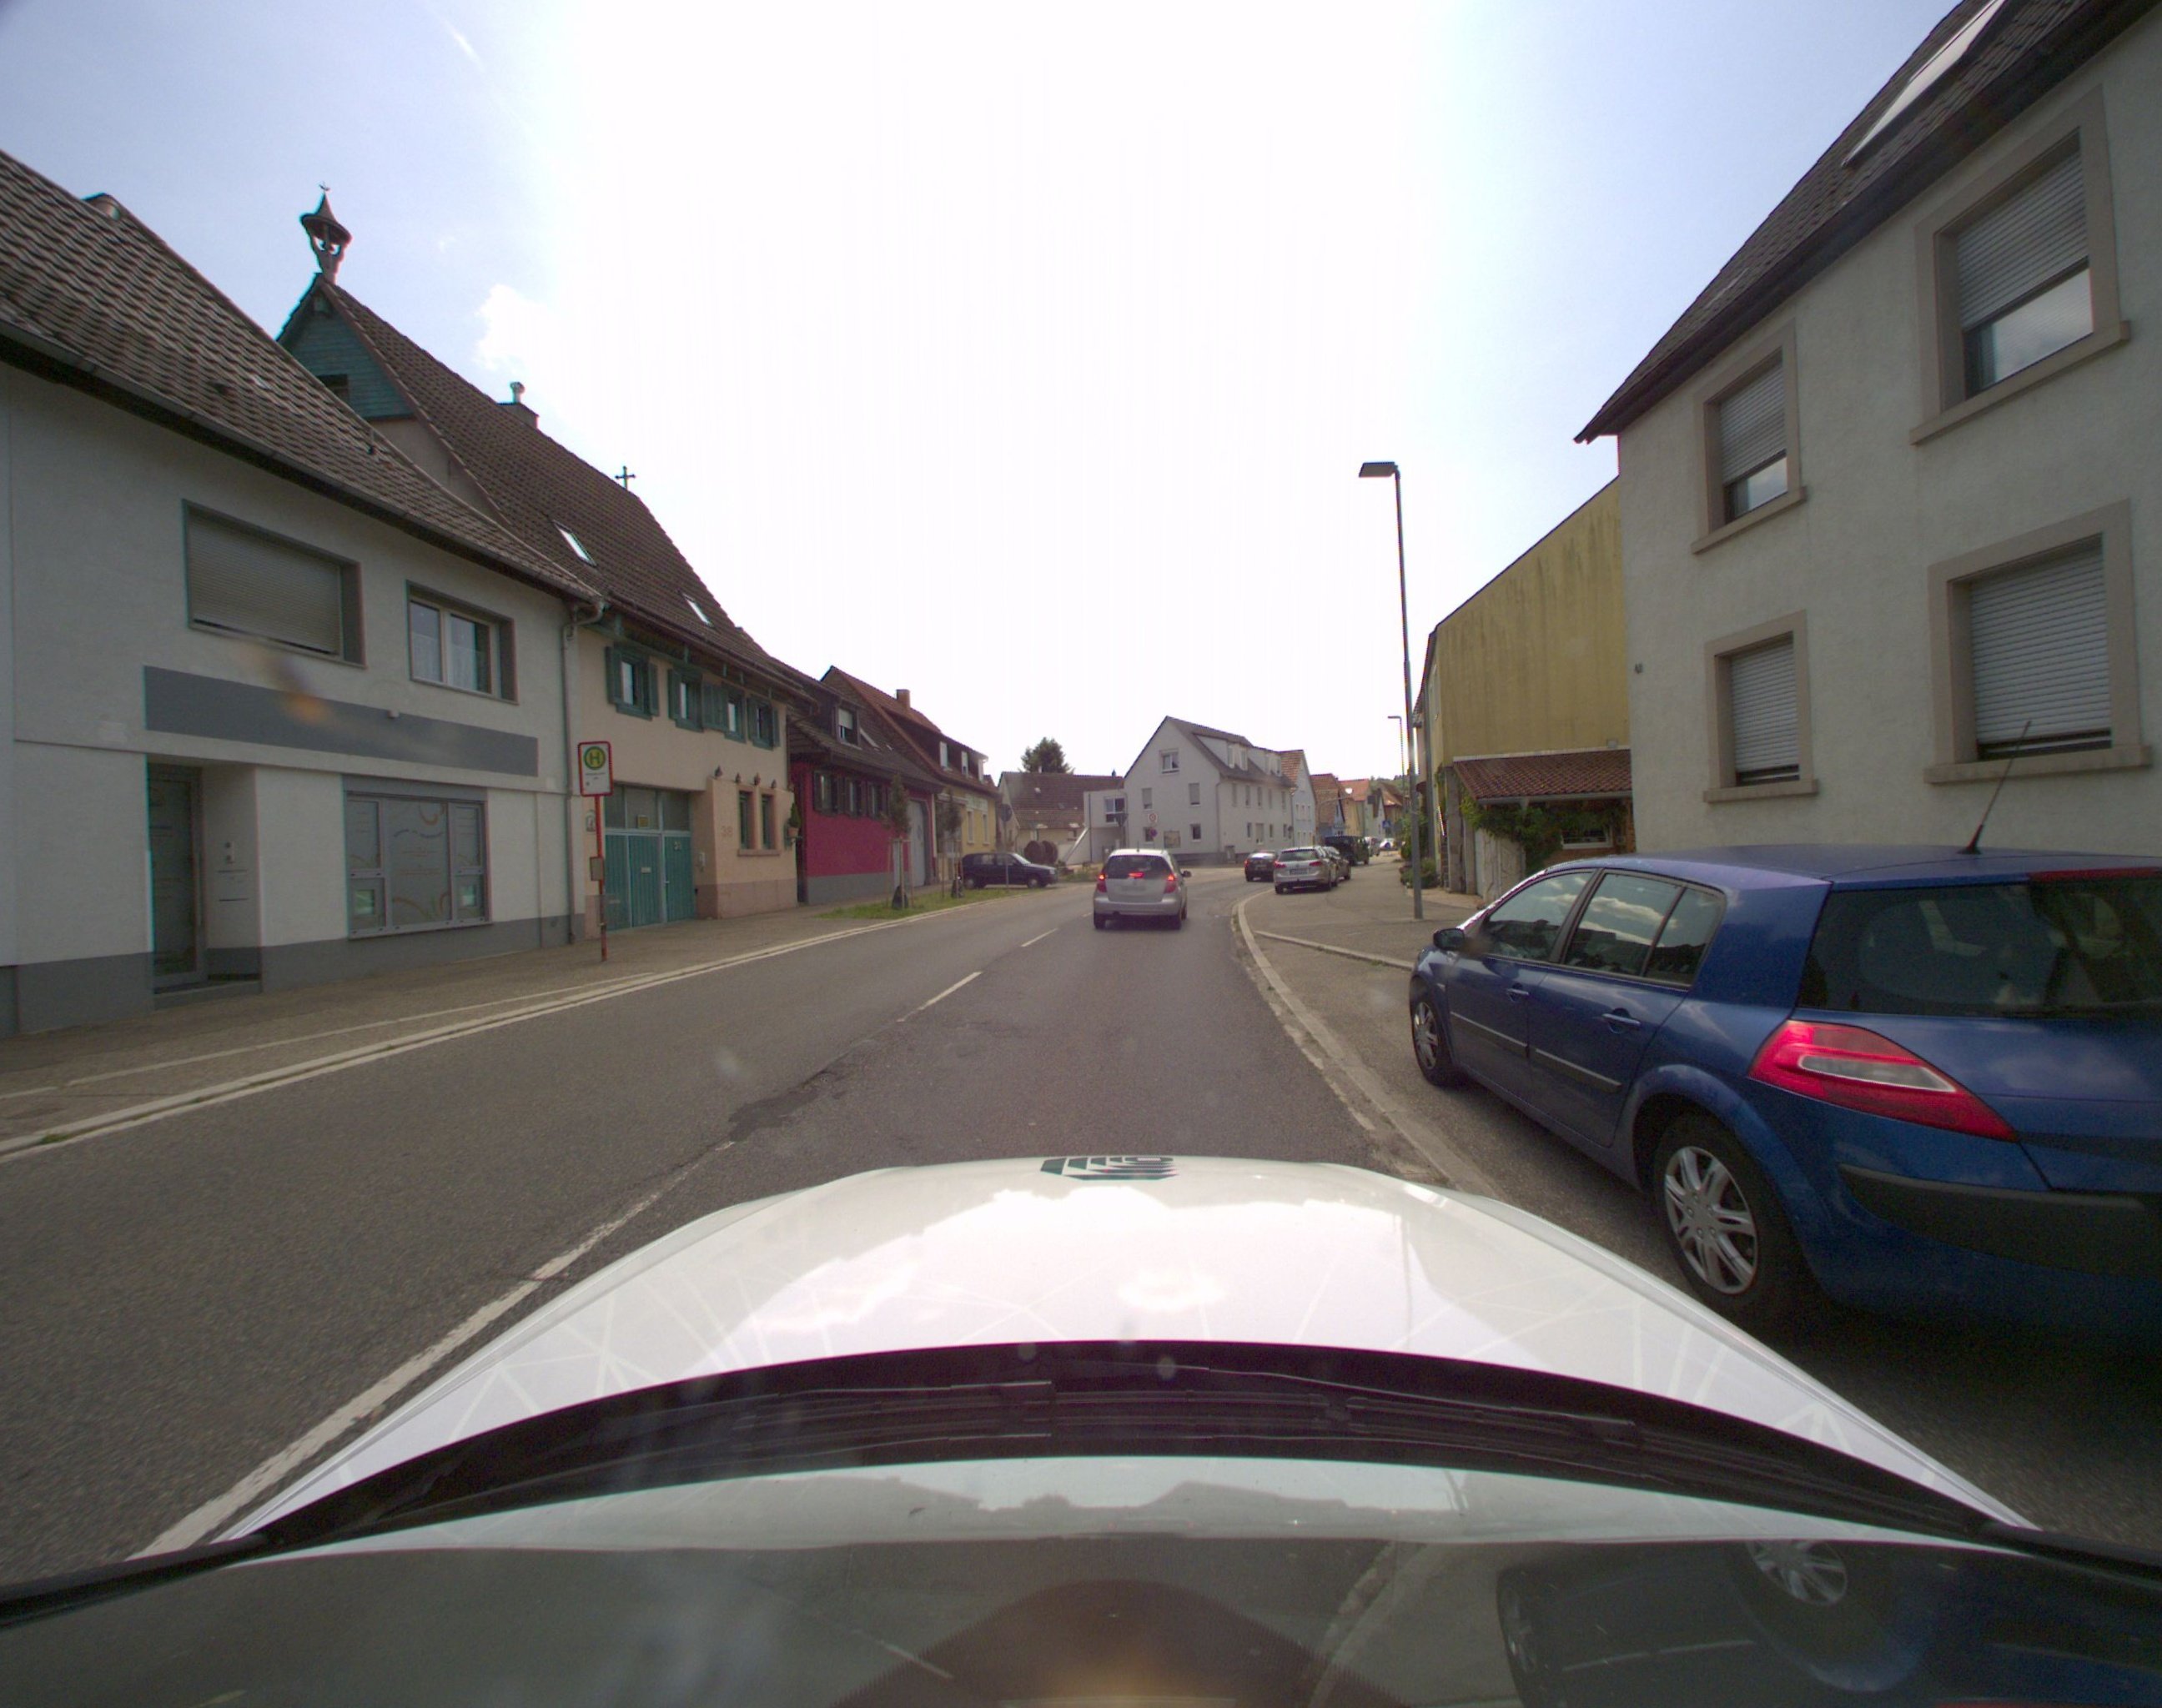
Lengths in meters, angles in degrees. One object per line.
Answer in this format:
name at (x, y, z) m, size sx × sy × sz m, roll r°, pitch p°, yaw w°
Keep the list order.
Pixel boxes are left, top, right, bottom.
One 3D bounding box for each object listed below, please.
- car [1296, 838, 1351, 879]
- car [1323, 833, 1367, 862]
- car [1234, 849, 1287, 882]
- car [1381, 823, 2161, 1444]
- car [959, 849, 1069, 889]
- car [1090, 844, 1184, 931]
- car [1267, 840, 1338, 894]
car at (9.677, 0.198, 32.293) m, size 1.869 × 1.530 × 4.019 m, roll -1°, pitch -1°, yaw 19°
car at (17.054, -0.379, 52.564) m, size 1.975 × 1.816 × 4.024 m, roll -1°, pitch -1°, yaw 28°
car at (8.157, 0.511, 36.759) m, size 1.735 × 1.416 × 4.020 m, roll -1°, pitch -1°, yaw 21°
car at (2.832, 0.645, 3.805) m, size 1.714 × 1.385 × 4.007 m, roll -3°, pitch -1°, yaw 6°
car at (-2.563, 0.565, 31.484) m, size 3.947 × 1.464 × 1.724 m, roll -1°, pitch 0°, yaw 6°
car at (1.316, 0.623, 17.558) m, size 1.801 × 1.643 × 3.737 m, roll 0°, pitch 1°, yaw 7°
car at (7.445, 0.378, 27.101) m, size 1.869 × 1.530 × 4.357 m, roll -5°, pitch -1°, yaw 19°
